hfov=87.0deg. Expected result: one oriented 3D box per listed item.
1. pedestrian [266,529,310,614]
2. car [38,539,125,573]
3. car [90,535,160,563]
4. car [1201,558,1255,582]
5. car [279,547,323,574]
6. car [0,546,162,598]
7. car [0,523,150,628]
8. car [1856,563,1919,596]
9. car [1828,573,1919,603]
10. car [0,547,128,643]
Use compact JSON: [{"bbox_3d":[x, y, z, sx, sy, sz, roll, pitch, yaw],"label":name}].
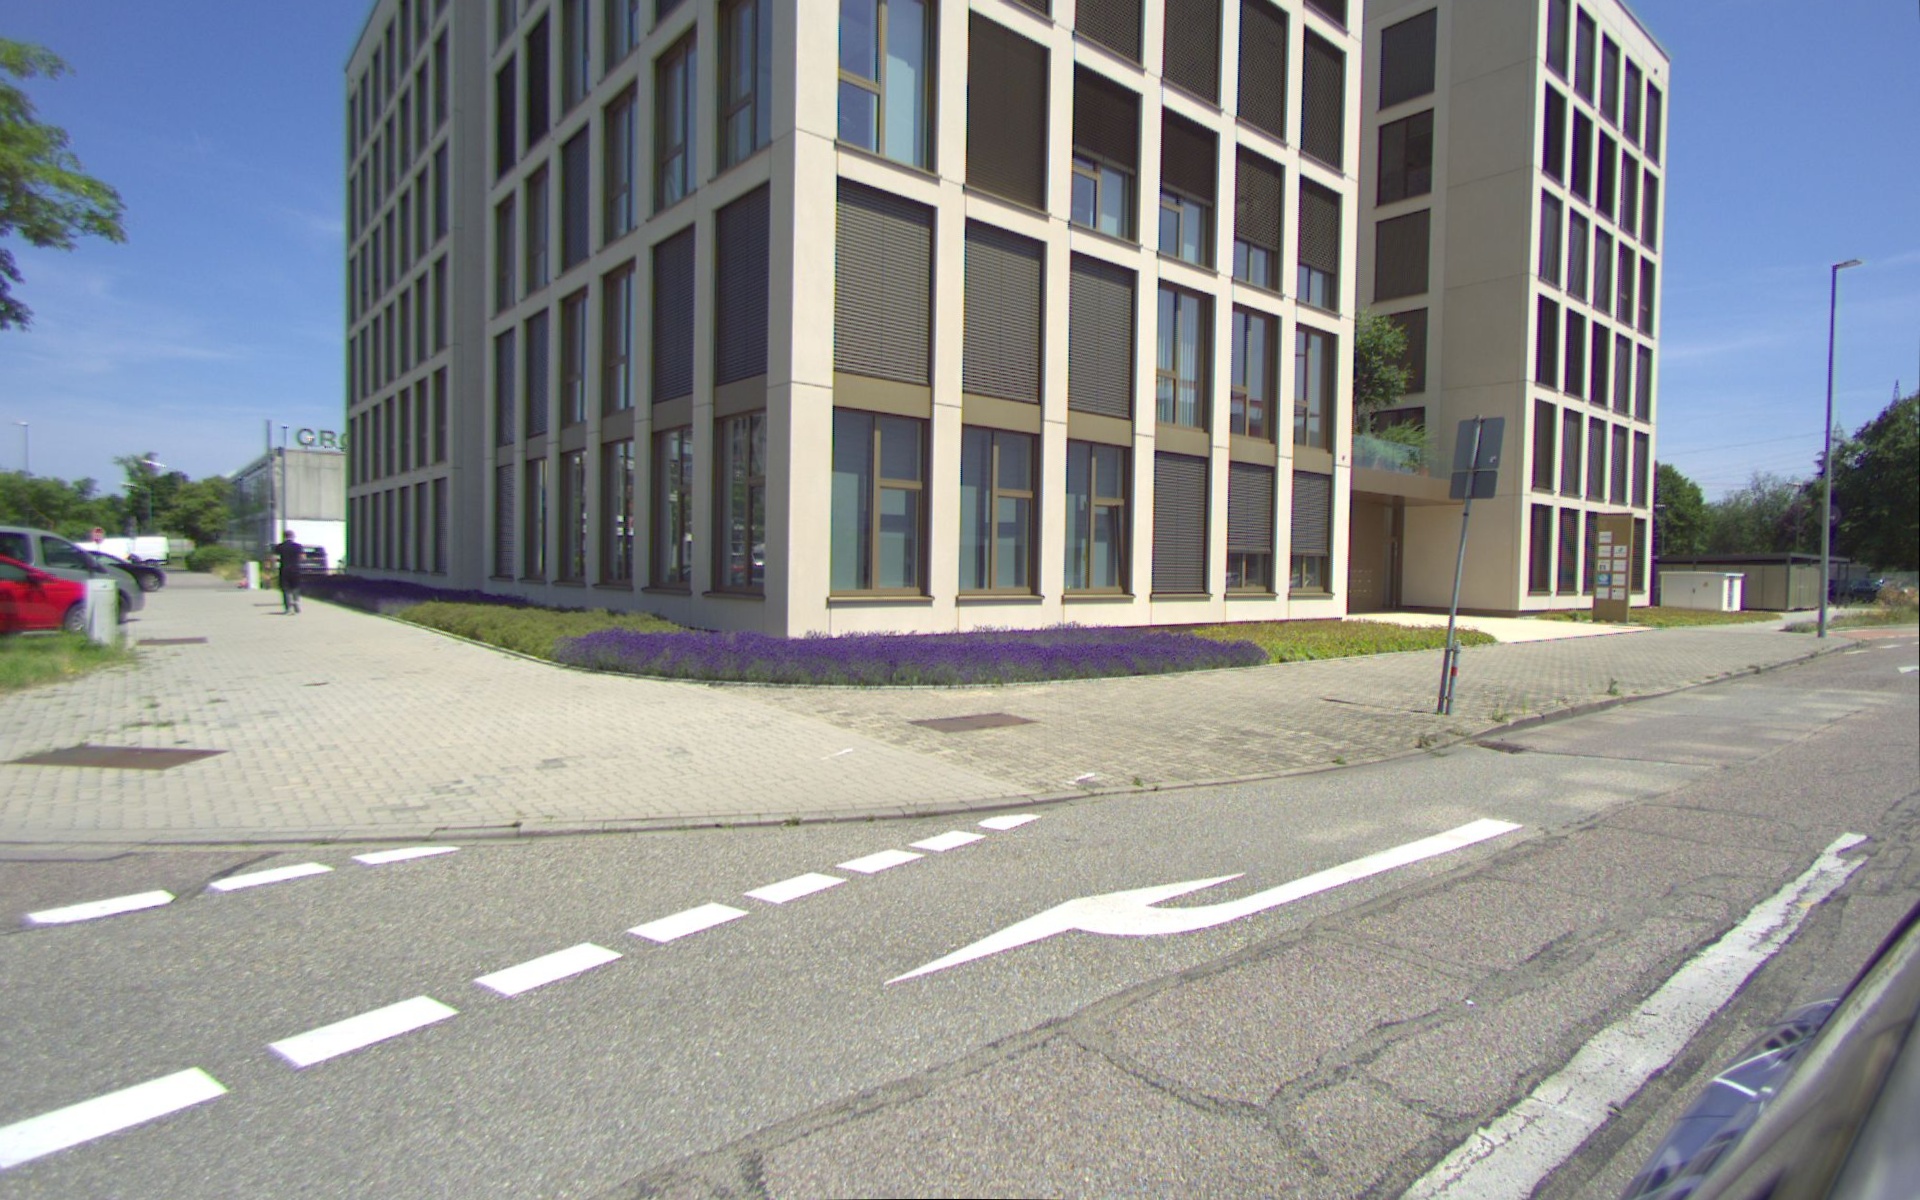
[{"bbox_3d":[-15.066,-0.646,22.708,0.758,1.867,0.869,-1,3,-32],"label":"pedestrian"},{"bbox_3d":[-54.911,-2.715,63.331,3.925,2.038,2.000,0,2,-36],"label":"car"},{"bbox_3d":[-67.492,-4.097,81.860,4.280,2.146,2.094,0,2,-37],"label":"car"},{"bbox_3d":[21.164,-2.368,79.910,3.921,1.874,2.002,0,2,-31],"label":"car"},{"bbox_3d":[-38.071,-2.292,58.453,1.758,1.540,3.574,-1,3,-39],"label":"car"},{"bbox_3d":[-29.291,-0.974,33.553,1.792,1.557,4.131,0,3,19],"label":"car"},{"bbox_3d":[-17.731,-0.468,18.424,1.676,1.838,4.899,1,2,7],"label":"car"},{"bbox_3d":[59.215,-1.308,63.552,3.958,1.977,1.984,2,2,25],"label":"car"},{"bbox_3d":[55.714,-0.731,61.571,3.960,1.682,1.822,2,3,26],"label":"car"},{"bbox_3d":[-15.408,-0.085,15.589,1.584,1.452,3.991,1,2,9],"label":"car"}]
